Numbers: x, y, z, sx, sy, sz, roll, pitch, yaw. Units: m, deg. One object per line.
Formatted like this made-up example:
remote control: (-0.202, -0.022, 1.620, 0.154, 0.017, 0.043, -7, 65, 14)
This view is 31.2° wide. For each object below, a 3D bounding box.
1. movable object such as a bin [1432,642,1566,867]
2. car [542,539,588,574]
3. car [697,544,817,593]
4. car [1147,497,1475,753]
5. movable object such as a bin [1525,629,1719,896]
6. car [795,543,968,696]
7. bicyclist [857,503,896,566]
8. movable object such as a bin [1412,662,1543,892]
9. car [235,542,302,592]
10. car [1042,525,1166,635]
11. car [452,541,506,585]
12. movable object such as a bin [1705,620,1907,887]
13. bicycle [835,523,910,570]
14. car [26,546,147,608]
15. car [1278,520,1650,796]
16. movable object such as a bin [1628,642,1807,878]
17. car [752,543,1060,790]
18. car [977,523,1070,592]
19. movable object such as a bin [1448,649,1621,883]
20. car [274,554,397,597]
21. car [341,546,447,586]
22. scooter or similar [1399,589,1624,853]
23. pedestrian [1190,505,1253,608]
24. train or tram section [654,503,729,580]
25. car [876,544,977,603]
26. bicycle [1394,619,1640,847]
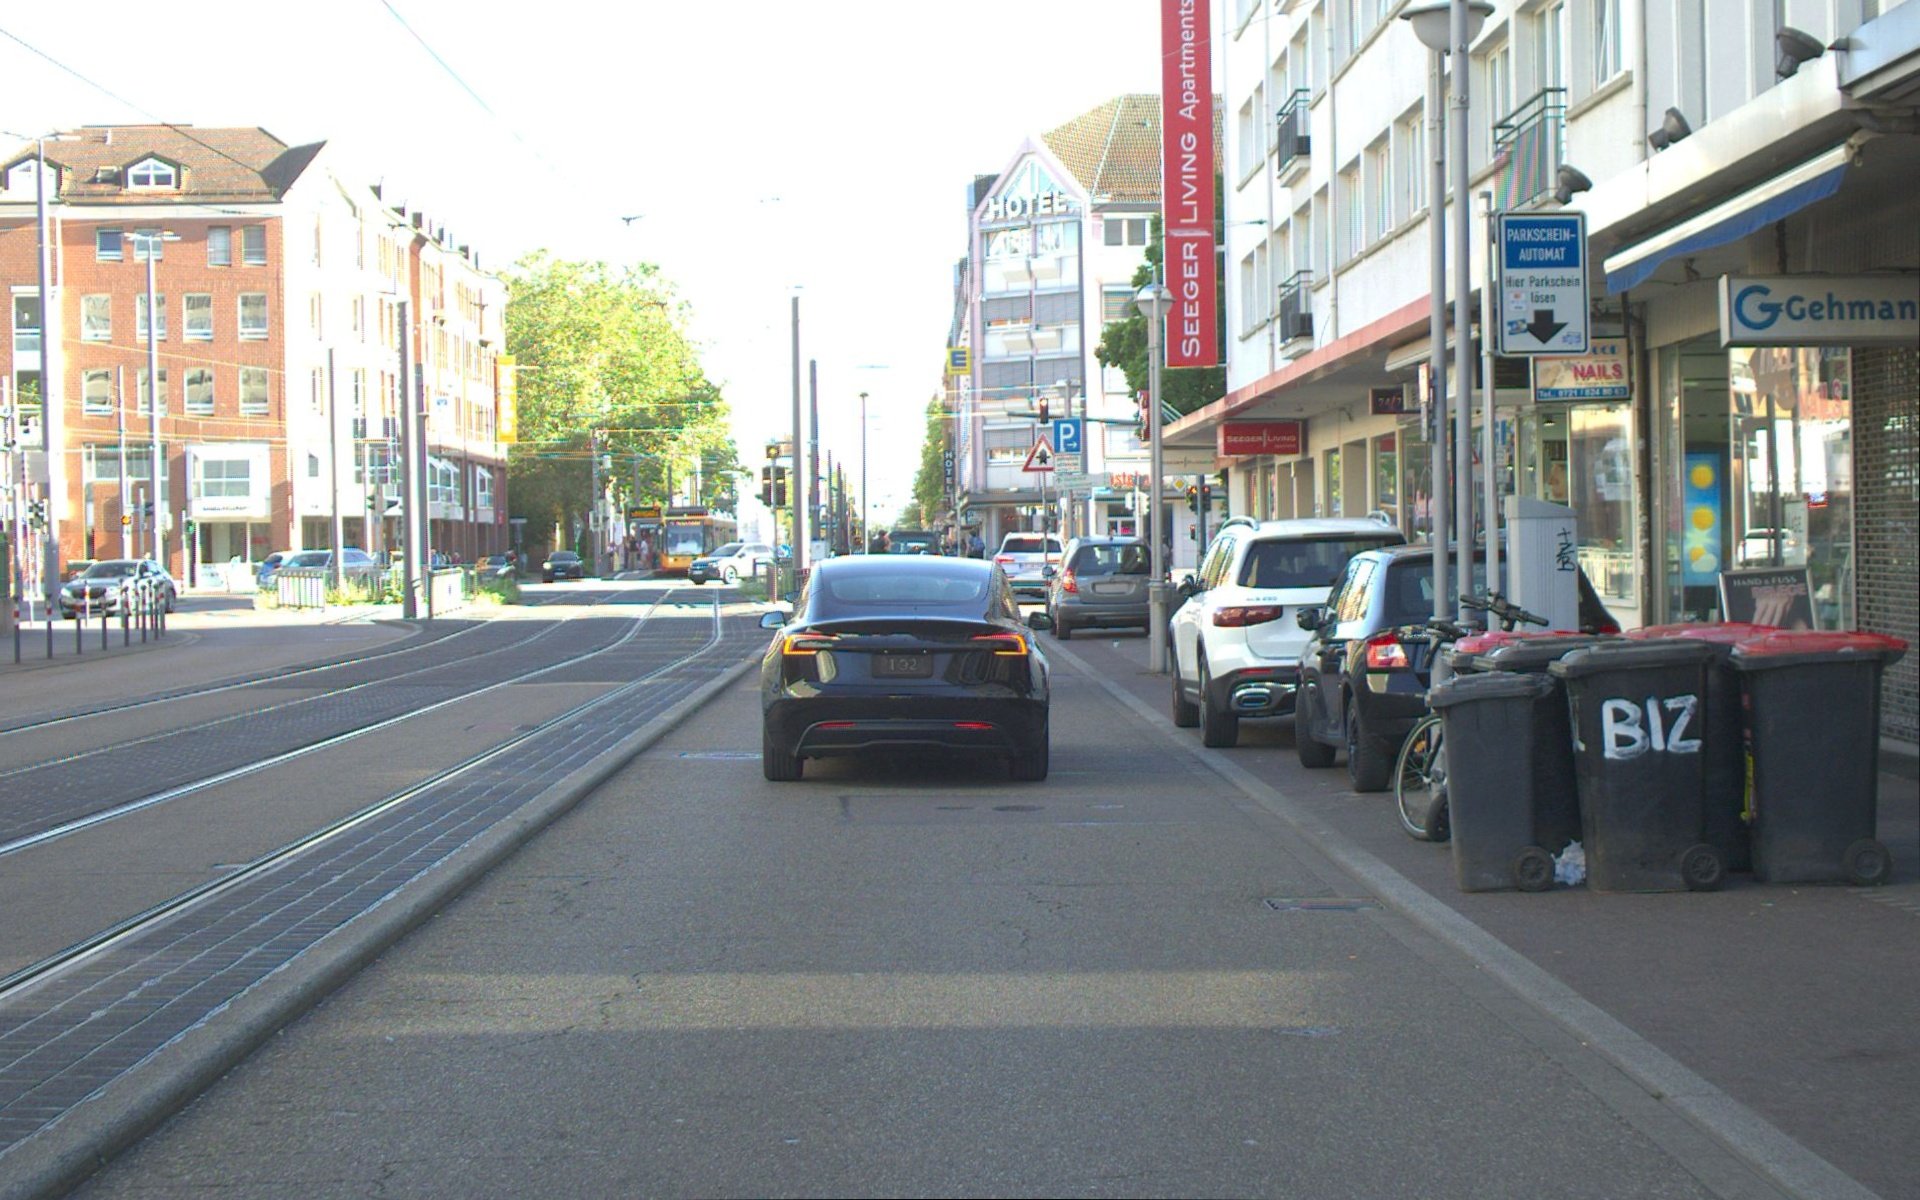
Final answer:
movable object such as a bin: (2.527, 0.716, 16.161, 0.522, 1.010, 0.671, -1, 1, 2)
car: (-19.240, -2.122, 167.636, 1.751, 1.645, 4.000, 1, 1, 0)
car: (-7.531, -1.189, 127.660, 3.988, 1.733, 1.999, -2, 1, -37)
car: (2.606, 0.142, 26.728, 1.849, 1.718, 5.193, -2, 1, -1)
movable object such as a bin: (2.827, 0.682, 14.732, 0.690, 1.085, 0.685, -2, 1, 3)
car: (-0.759, 0.154, 35.253, 1.653, 1.413, 4.000, 1, 2, 0)
bicyclist: (-2.020, -1.589, 83.226, 0.836, 1.494, 0.560, 1, 0, -8)
movable object such as a bin: (2.232, 0.758, 14.865, 0.487, 0.955, 0.457, -2, 1, 3)
car: (-21.853, -1.056, 108.552, 1.880, 1.490, 4.932, -2, 1, -13)
car: (2.251, -0.350, 54.533, 1.745, 1.626, 3.649, -2, 1, 0)
car: (-23.036, -1.771, 164.731, 1.993, 2.007, 4.000, 1, 1, -1)
movable object such as a bin: (3.611, 0.643, 14.713, 0.690, 1.085, 0.666, -2, 1, 3)
bicycle: (-2.124, -1.296, 83.178, 1.727, 1.084, 0.678, 1, 1, -8)
car: (-21.703, -0.574, 85.520, 1.903, 1.459, 4.000, 1, 1, 1)
car: (3.051, 0.304, 21.536, 1.614, 1.523, 4.071, -2, 1, -1)
movable object such as a bin: (3.394, 0.709, 15.440, 0.658, 1.010, 0.636, -1, 1, 2)
car: (-0.386, 0.382, 22.775, 1.849, 1.479, 3.787, 1, 1, -2)
car: (1.440, -0.988, 79.818, 1.783, 1.514, 4.219, 1, 1, -4)
movable object such as a bin: (2.583, 0.741, 15.498, 0.686, 1.010, 0.508, -1, 1, 2)
car: (-21.829, -0.855, 120.274, 1.997, 1.415, 3.992, 2, 1, 34)
car: (-22.068, -1.341, 134.029, 3.997, 1.465, 1.995, 2, 1, 41)
scooter or similar: (2.684, 0.584, 16.759, 0.992, 1.227, 0.320, -2, 1, -2)
pedestrian: (4.327, -0.714, 56.859, 0.818, 1.677, 0.714, 1, 1, 23)
train or tram section: (-13.522, -2.935, 174.088, 2.674, 3.703, 14.193, 1, 1, 0)
car: (-0.944, -0.740, 93.424, 1.824, 1.514, 4.219, 1, 1, -13)
bicycle: (2.775, 0.659, 17.157, 1.131, 1.076, 0.320, -3, 1, -2)
